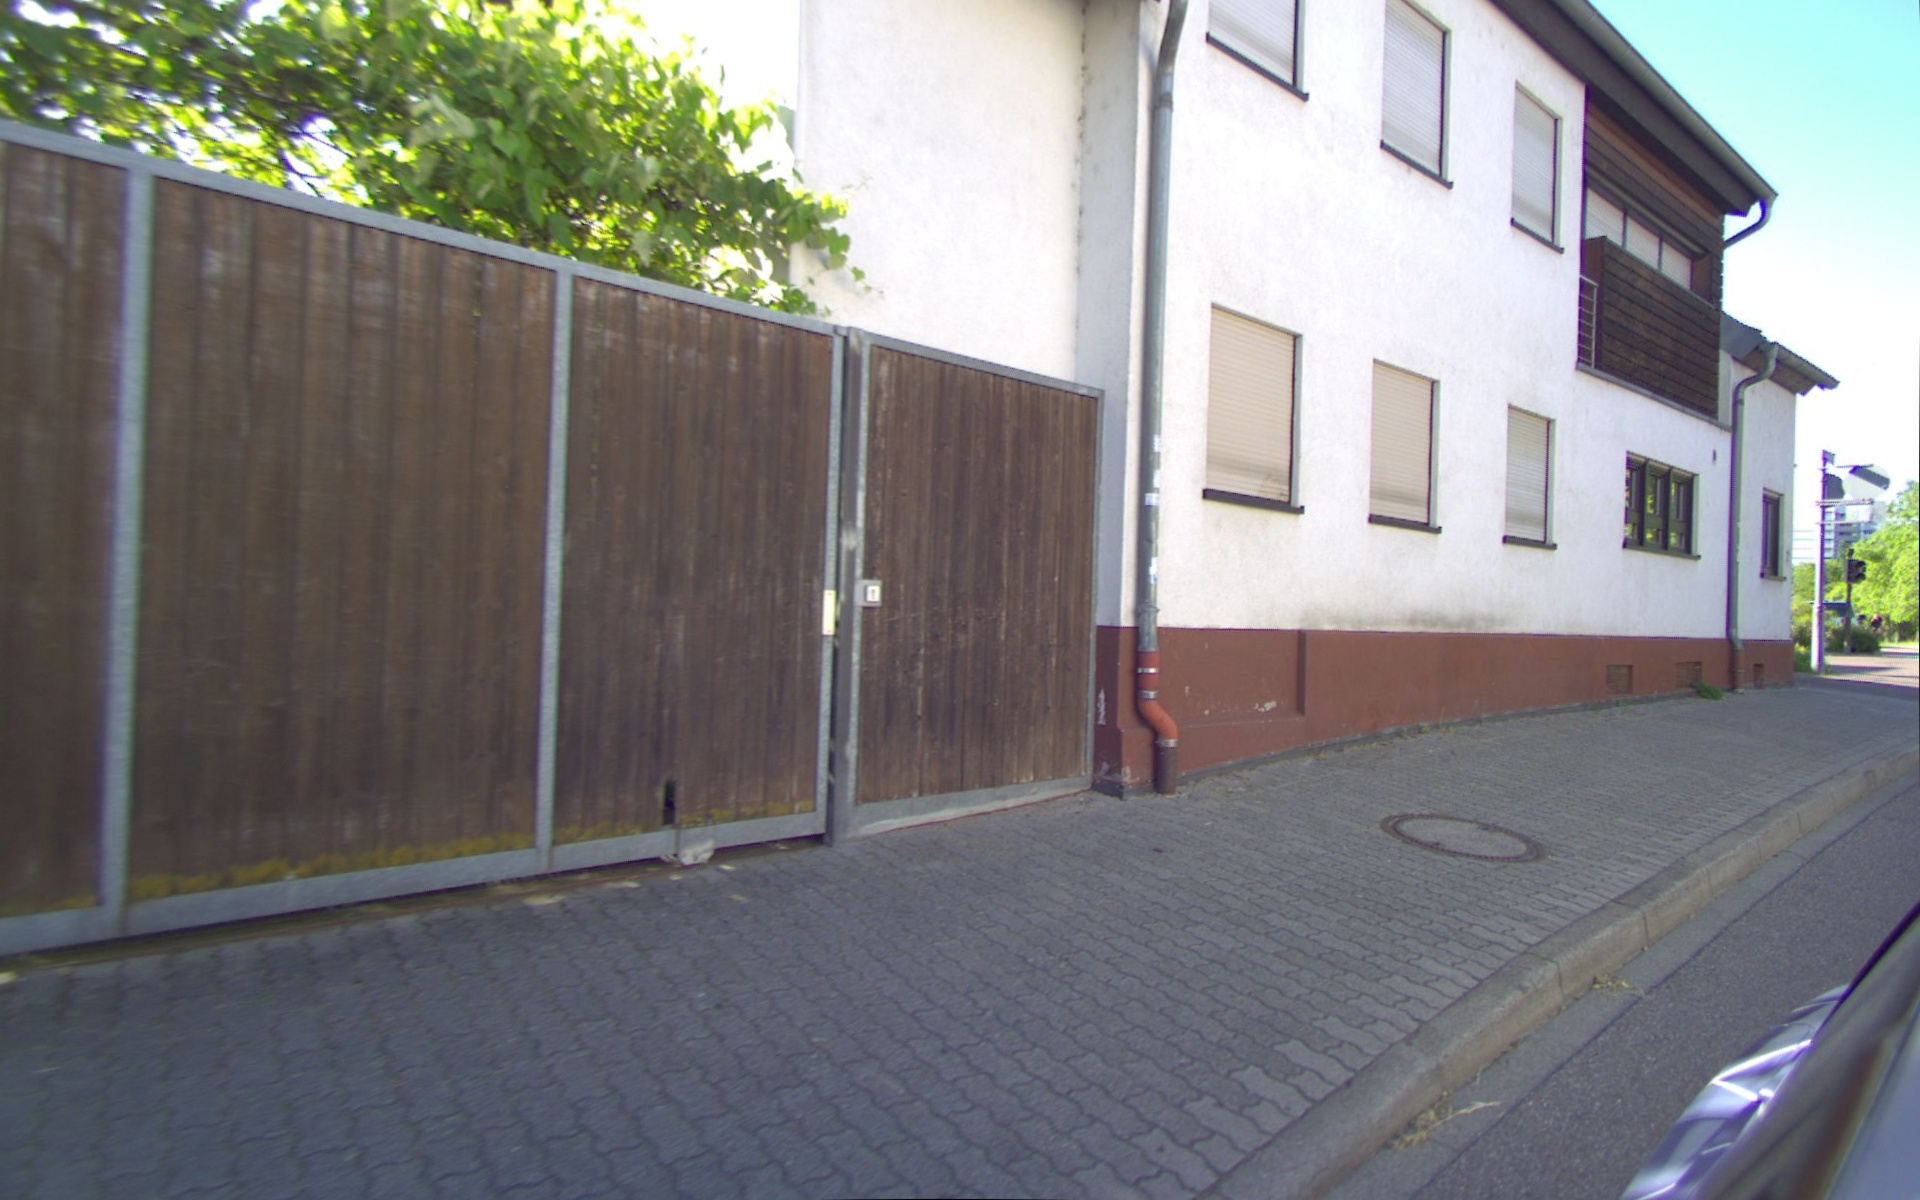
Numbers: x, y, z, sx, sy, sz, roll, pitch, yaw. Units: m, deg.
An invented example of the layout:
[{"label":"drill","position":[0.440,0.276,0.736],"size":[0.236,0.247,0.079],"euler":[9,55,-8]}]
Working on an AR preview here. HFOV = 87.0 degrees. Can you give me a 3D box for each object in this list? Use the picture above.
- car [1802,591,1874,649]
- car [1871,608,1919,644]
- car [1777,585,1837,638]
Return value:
[{"label":"car","position":[33.554,0.724,38.713],"size":[1.992,2.105,4.509],"euler":[0,0,41]},{"label":"car","position":[53.081,1.453,57.030],"size":[1.953,1.944,4.522],"euler":[0,0,34]},{"label":"car","position":[45.368,0.638,54.292],"size":[1.950,2.678,5.157],"euler":[0,-1,35]}]
